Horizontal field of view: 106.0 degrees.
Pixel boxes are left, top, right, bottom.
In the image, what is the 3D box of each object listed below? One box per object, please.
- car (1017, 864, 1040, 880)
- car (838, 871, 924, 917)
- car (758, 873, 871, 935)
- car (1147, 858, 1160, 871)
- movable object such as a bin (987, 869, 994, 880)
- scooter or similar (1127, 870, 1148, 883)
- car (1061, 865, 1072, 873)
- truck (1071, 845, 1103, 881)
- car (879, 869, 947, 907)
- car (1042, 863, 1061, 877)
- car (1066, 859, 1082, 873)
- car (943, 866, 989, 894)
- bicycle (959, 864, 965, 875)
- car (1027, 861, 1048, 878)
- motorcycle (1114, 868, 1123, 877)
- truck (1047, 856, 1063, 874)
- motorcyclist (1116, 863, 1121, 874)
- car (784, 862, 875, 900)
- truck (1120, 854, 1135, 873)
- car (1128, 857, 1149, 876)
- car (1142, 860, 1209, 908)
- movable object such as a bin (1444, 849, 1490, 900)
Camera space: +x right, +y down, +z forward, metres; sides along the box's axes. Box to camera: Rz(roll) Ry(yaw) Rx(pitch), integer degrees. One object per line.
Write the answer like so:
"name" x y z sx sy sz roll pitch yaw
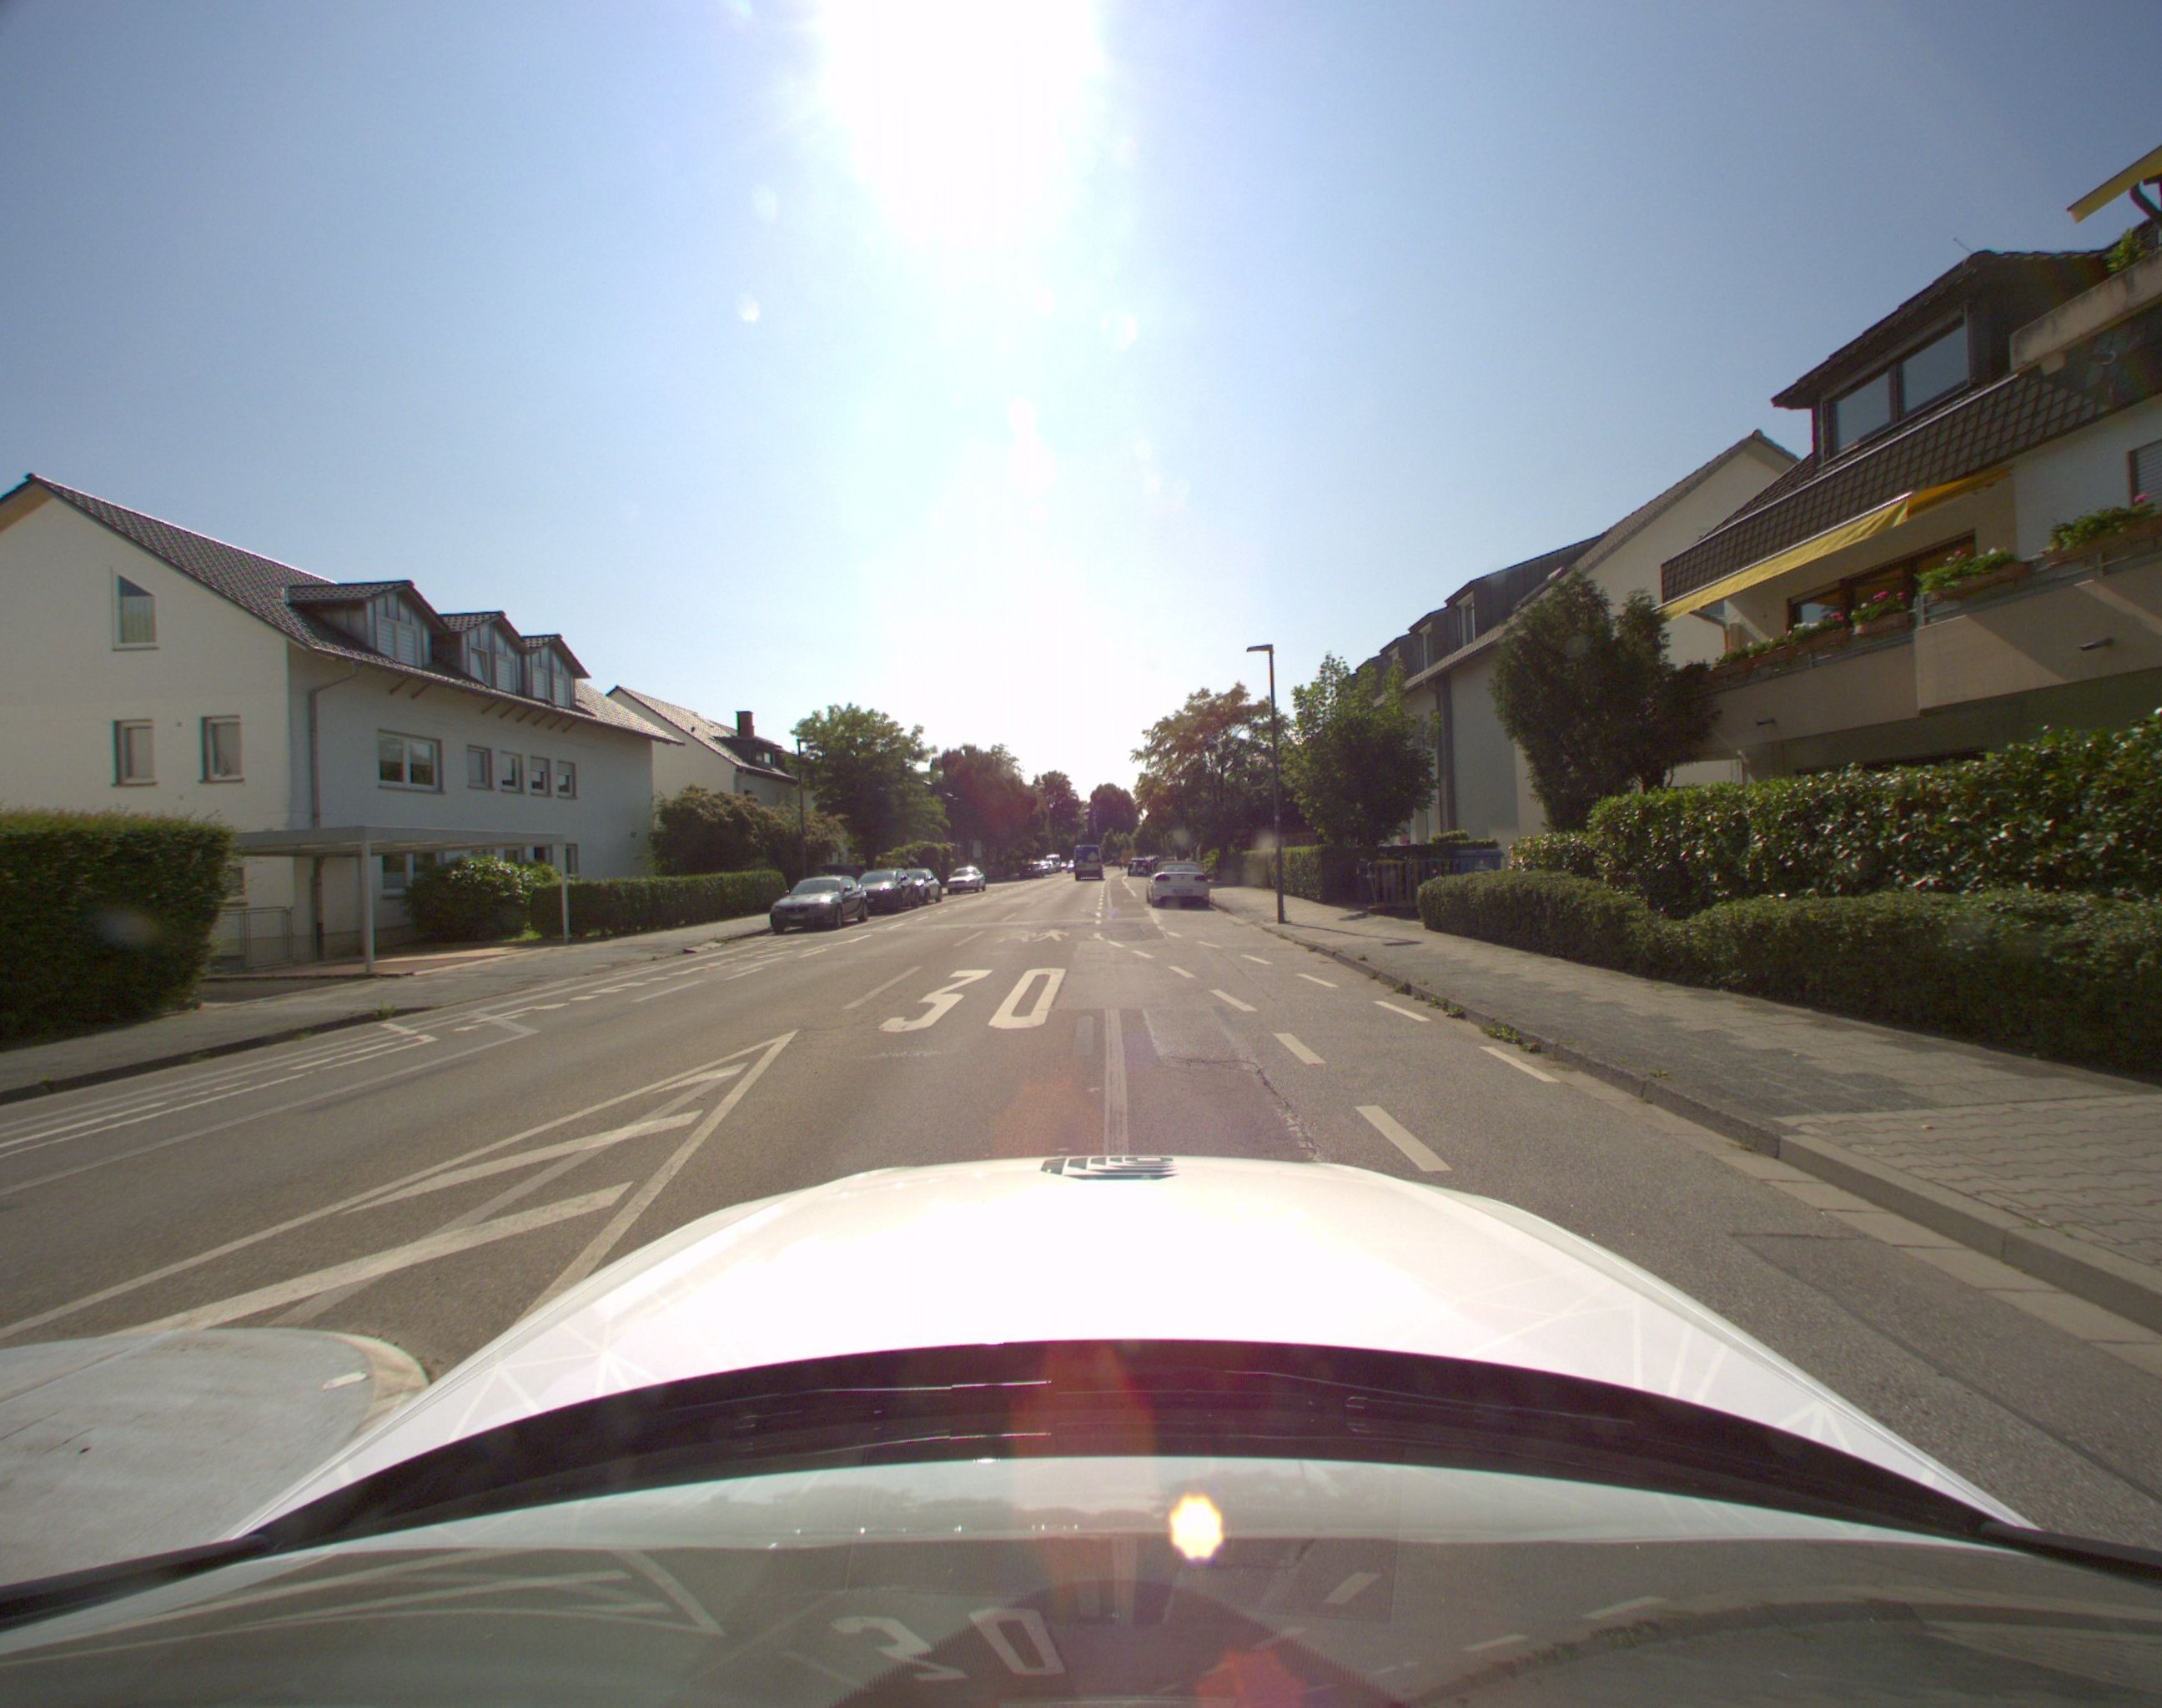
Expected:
"car" -5.184 1.766 80.629 1.774 1.460 4.086 -3 -1 1
"car" -7.059 1.377 29.202 1.778 1.440 4.114 -3 -1 3
"car" -7.330 1.325 22.812 1.780 1.440 4.152 -3 -1 -1
"car" 9.611 1.411 107.986 1.692 1.677 3.780 -2 -1 5
"movable object such as a bin" -9.190 2.070 82.892 0.540 1.111 0.586 -2 -2 8
"scooter or similar" 4.930 1.960 71.048 0.724 1.154 1.775 3 -2 -43
"car" -2.451 2.505 136.303 1.748 1.343 3.654 -2 -1 1
"truck" 0.525 0.744 62.561 2.264 2.571 4.393 -2 -1 2
"car" -6.986 1.371 34.243 1.778 1.440 4.002 -2 -1 3
"car" -3.499 1.948 97.232 1.827 1.595 3.778 -2 -2 4
"car" -0.871 1.499 98.878 1.726 1.541 4.000 -3 -1 1
"car" -6.465 1.421 46.100 1.778 1.440 4.002 -2 -1 2
"bicycle" -12.682 1.640 86.672 0.537 1.181 1.441 -2 1 -11
"car" -4.575 1.626 86.378 1.902 1.677 4.258 -4 0 0
"motorcycle" 4.978 2.436 107.985 1.052 1.122 2.993 -2 -1 2
"truck" -3.718 1.555 115.623 2.074 2.537 5.465 -2 -1 -1
"motorcyclist" 4.966 1.929 107.917 0.669 1.519 0.653 -2 -2 2
"car" -12.842 1.372 41.723 3.971 1.759 2.001 -2 -1 2
"truck" 7.689 1.579 134.571 2.205 2.947 5.690 -2 -1 3
"car" 5.226 1.143 73.789 1.777 1.638 4.475 0 -1 4
"car" 2.911 0.914 25.883 1.734 1.402 4.074 0 -1 1
"movable object such as a bin" 9.792 0.516 20.674 0.744 1.243 0.793 -2 -1 -2
